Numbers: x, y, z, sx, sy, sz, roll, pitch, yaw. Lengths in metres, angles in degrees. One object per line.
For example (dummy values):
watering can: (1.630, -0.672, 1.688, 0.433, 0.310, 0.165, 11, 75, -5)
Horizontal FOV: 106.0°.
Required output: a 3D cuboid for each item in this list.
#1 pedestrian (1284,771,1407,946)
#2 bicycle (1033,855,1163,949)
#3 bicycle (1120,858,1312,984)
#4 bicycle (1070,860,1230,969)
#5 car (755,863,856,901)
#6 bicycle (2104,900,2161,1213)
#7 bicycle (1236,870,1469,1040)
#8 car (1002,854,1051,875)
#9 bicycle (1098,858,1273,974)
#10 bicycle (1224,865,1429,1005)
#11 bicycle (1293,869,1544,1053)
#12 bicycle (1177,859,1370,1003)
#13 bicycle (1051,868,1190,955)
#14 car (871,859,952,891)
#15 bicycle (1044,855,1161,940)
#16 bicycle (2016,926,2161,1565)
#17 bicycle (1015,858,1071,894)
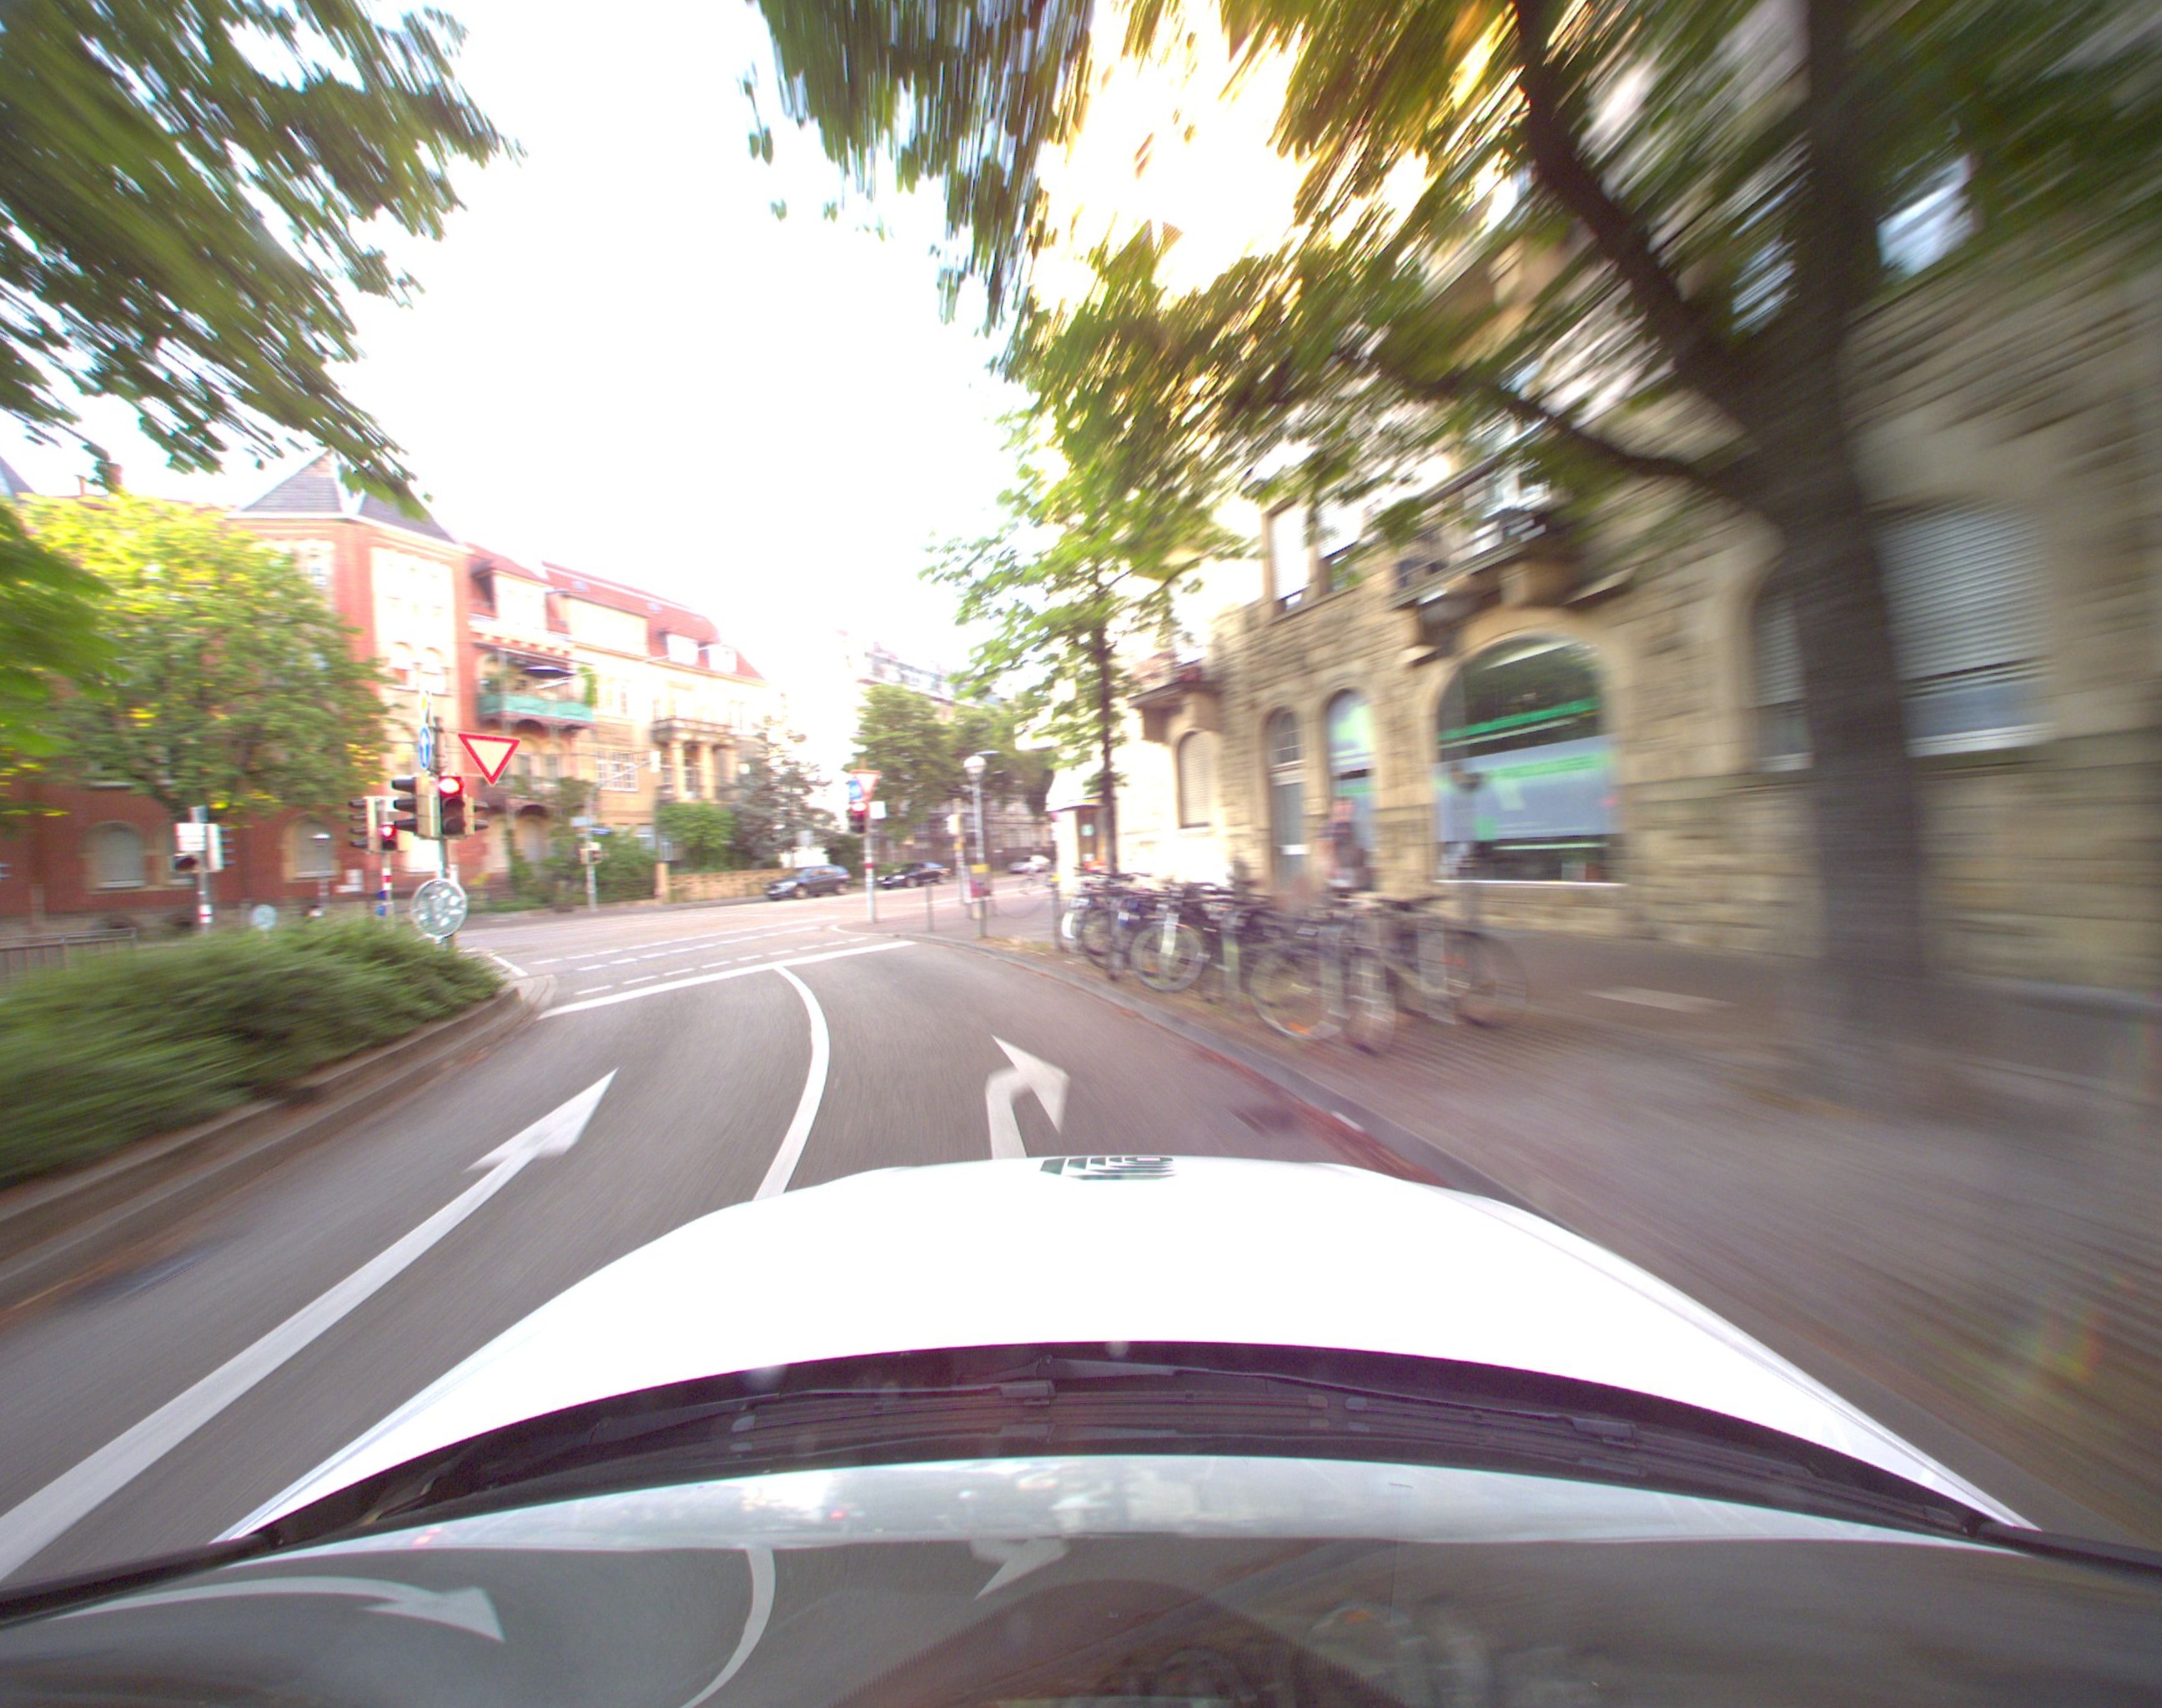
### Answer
pedestrian: (3.398, 0.042, 10.546, 1.012, 2.085, 1.055, -4, 1, -14)
bicycle: (0.260, 0.690, 12.340, 1.797, 1.236, 0.693, -4, 0, -27)
bicycle: (1.454, 0.684, 8.844, 1.890, 1.162, 0.701, -4, 0, -16)
bicycle: (0.878, 0.713, 10.226, 1.896, 1.162, 0.635, -4, 0, -27)
car: (-13.250, 1.314, 39.420, 1.926, 1.510, 4.447, -3, 0, 27)
bicycle: (2.876, 0.615, 1.218, 1.873, 1.217, 0.492, -3, -6, 0)
bicycle: (2.069, 0.715, 6.195, 1.674, 1.078, 0.483, -4, 0, -18)
car: (-4.413, 0.807, 66.451, 1.986, 1.426, 4.658, -3, 0, 23)
bicycle: (1.224, 0.693, 9.565, 1.890, 1.162, 0.637, -4, 0, -17)
bicycle: (2.184, 0.690, 7.291, 1.670, 1.078, 0.484, -4, 0, -11)
bicycle: (2.393, 0.701, 5.761, 1.674, 1.078, 0.483, -4, 0, -18)
bicycle: (1.772, 0.682, 7.515, 1.669, 1.127, 0.485, -4, 6, -9)
bicycle: (0.567, 0.773, 11.534, 1.811, 1.038, 0.693, -4, 0, -27)
car: (-9.576, 1.179, 46.337, 1.926, 1.510, 4.660, -3, 0, 27)
bicycle: (0.367, 0.696, 13.516, 1.798, 1.236, 0.645, -4, 0, -29)
bicycle: (2.907, 0.714, 1.650, 1.881, 1.139, 0.490, -2, 4, -13)
bicycle: (-1.381, 0.783, 29.302, 1.874, 1.130, 0.728, -3, 0, -12)
